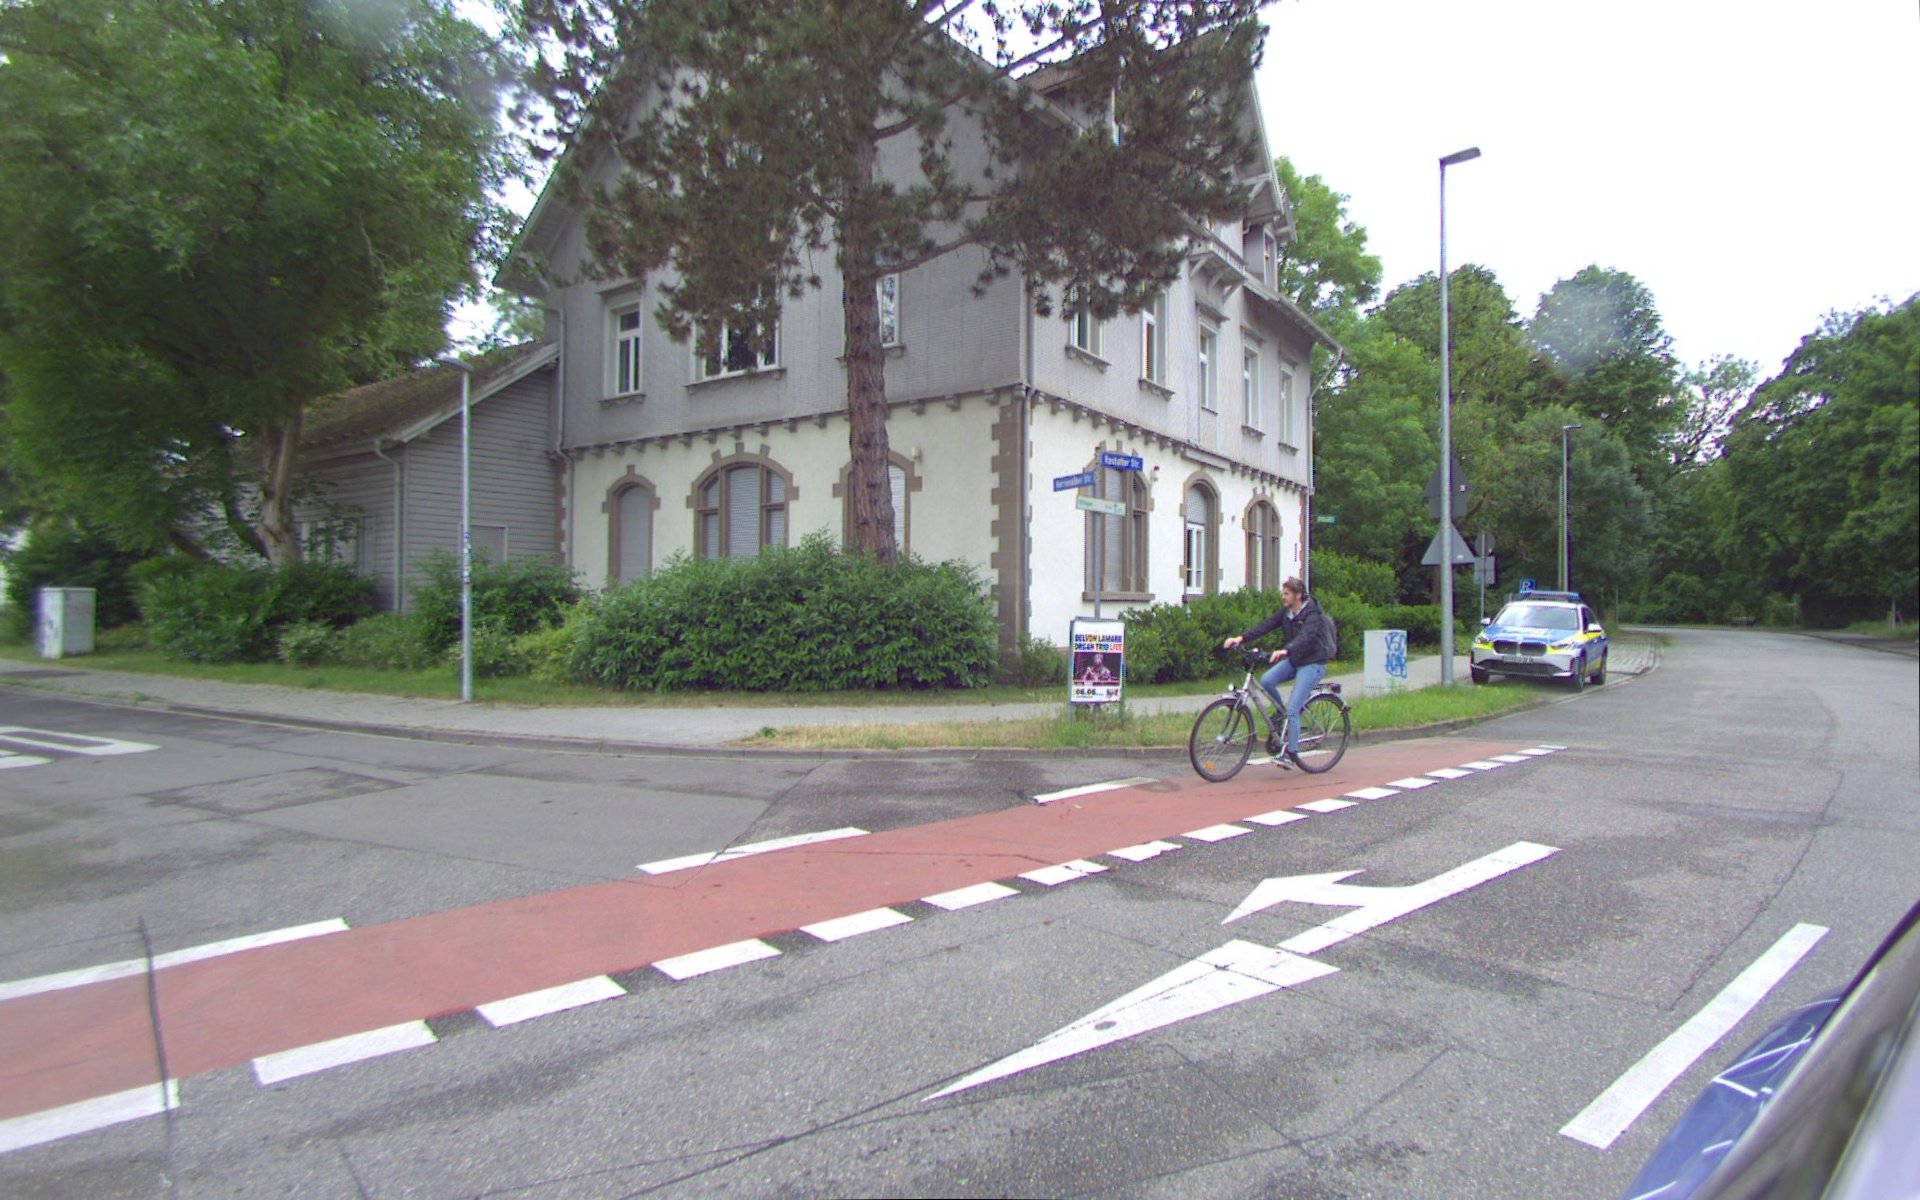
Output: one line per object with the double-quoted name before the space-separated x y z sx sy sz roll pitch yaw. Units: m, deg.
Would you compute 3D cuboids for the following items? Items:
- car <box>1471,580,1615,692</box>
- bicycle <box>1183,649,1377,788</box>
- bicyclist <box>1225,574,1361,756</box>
"car" 11.300 0.611 19.495 1.926 1.873 3.947 3 1 37
"bicycle" 2.759 0.958 8.610 1.990 0.993 0.384 -1 0 -33
"bicyclist" 2.830 0.530 8.591 0.945 1.443 0.622 0 -4 -41
